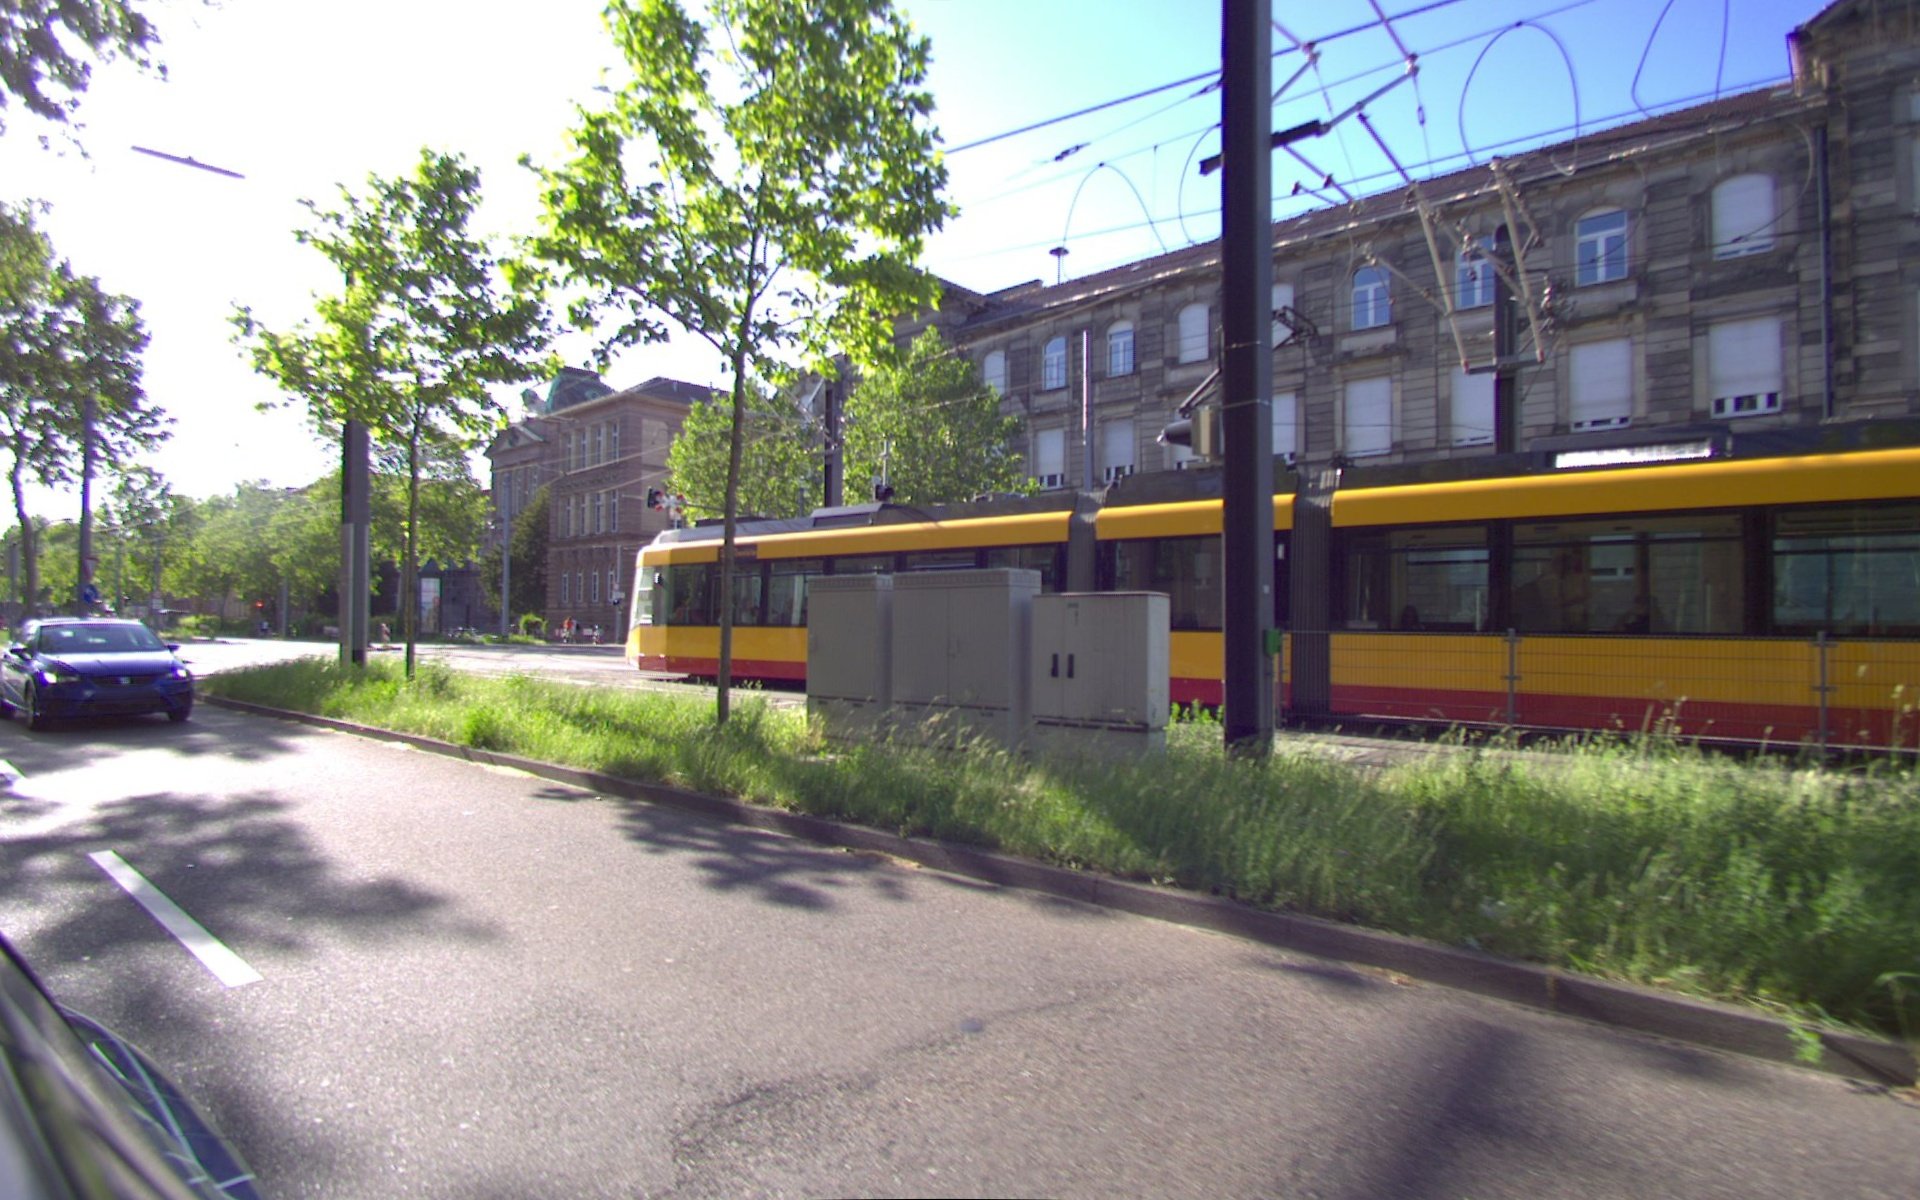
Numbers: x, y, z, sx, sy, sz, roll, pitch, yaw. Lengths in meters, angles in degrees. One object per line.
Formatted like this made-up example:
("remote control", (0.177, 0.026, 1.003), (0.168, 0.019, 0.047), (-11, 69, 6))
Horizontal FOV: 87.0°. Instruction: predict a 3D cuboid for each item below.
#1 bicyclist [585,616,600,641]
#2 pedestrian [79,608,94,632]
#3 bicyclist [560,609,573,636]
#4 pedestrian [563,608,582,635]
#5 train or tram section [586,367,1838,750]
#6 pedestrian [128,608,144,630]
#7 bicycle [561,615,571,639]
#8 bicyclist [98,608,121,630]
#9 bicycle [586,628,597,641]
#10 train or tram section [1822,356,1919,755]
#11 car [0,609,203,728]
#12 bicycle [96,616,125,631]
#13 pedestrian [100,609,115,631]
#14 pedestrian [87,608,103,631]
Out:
("bicyclist", (-22.860, 1.765, 62.982), (0.784, 1.473, 0.732), (-1, 0, -15))
("pedestrian", (-67.077, 1.529, 77.712), (0.692, 1.758, 0.592), (-1, 0, 9))
("bicyclist", (-24.641, 1.397, 63.418), (0.664, 1.636, 0.874), (0, -1, -16))
("pedestrian", (-26.283, 1.446, 68.674), (1.002, 1.814, 0.853), (-1, 0, 43))
("train or tram section", (0.721, -0.258, 17.137), (21.195, 3.510, 2.934), (-1, 0, 39))
("pedestrian", (-62.664, 1.459, 76.975), (0.692, 1.633, 0.592), (-1, 0, 9))
("bicycle", (-24.670, 1.669, 63.389), (0.517, 1.400, 2.358), (-1, 0, -19))
("bicyclist", (-62.823, 1.401, 74.738), (0.826, 1.656, 0.966), (-1, 0, 9))
("bicycle", (-22.751, 2.137, 62.523), (0.517, 0.727, 1.907), (-1, 0, -15))
("train or tram section", (11.316, -0.424, 8.475), (6.052, 3.510, 2.928), (-1, 0, 39))
("car", (-12.428, 0.877, 14.430), (3.865, 1.459, 1.756), (-1, -1, 39))
("bicycle", (-62.751, 1.704, 74.755), (0.538, 1.049, 1.658), (0, 0, 10))
("pedestrian", (-64.290, 1.483, 76.317), (0.691, 1.656, 0.593), (-1, 0, 6))
("pedestrian", (-65.690, 1.480, 76.832), (0.692, 1.689, 0.592), (-1, 0, 9))
